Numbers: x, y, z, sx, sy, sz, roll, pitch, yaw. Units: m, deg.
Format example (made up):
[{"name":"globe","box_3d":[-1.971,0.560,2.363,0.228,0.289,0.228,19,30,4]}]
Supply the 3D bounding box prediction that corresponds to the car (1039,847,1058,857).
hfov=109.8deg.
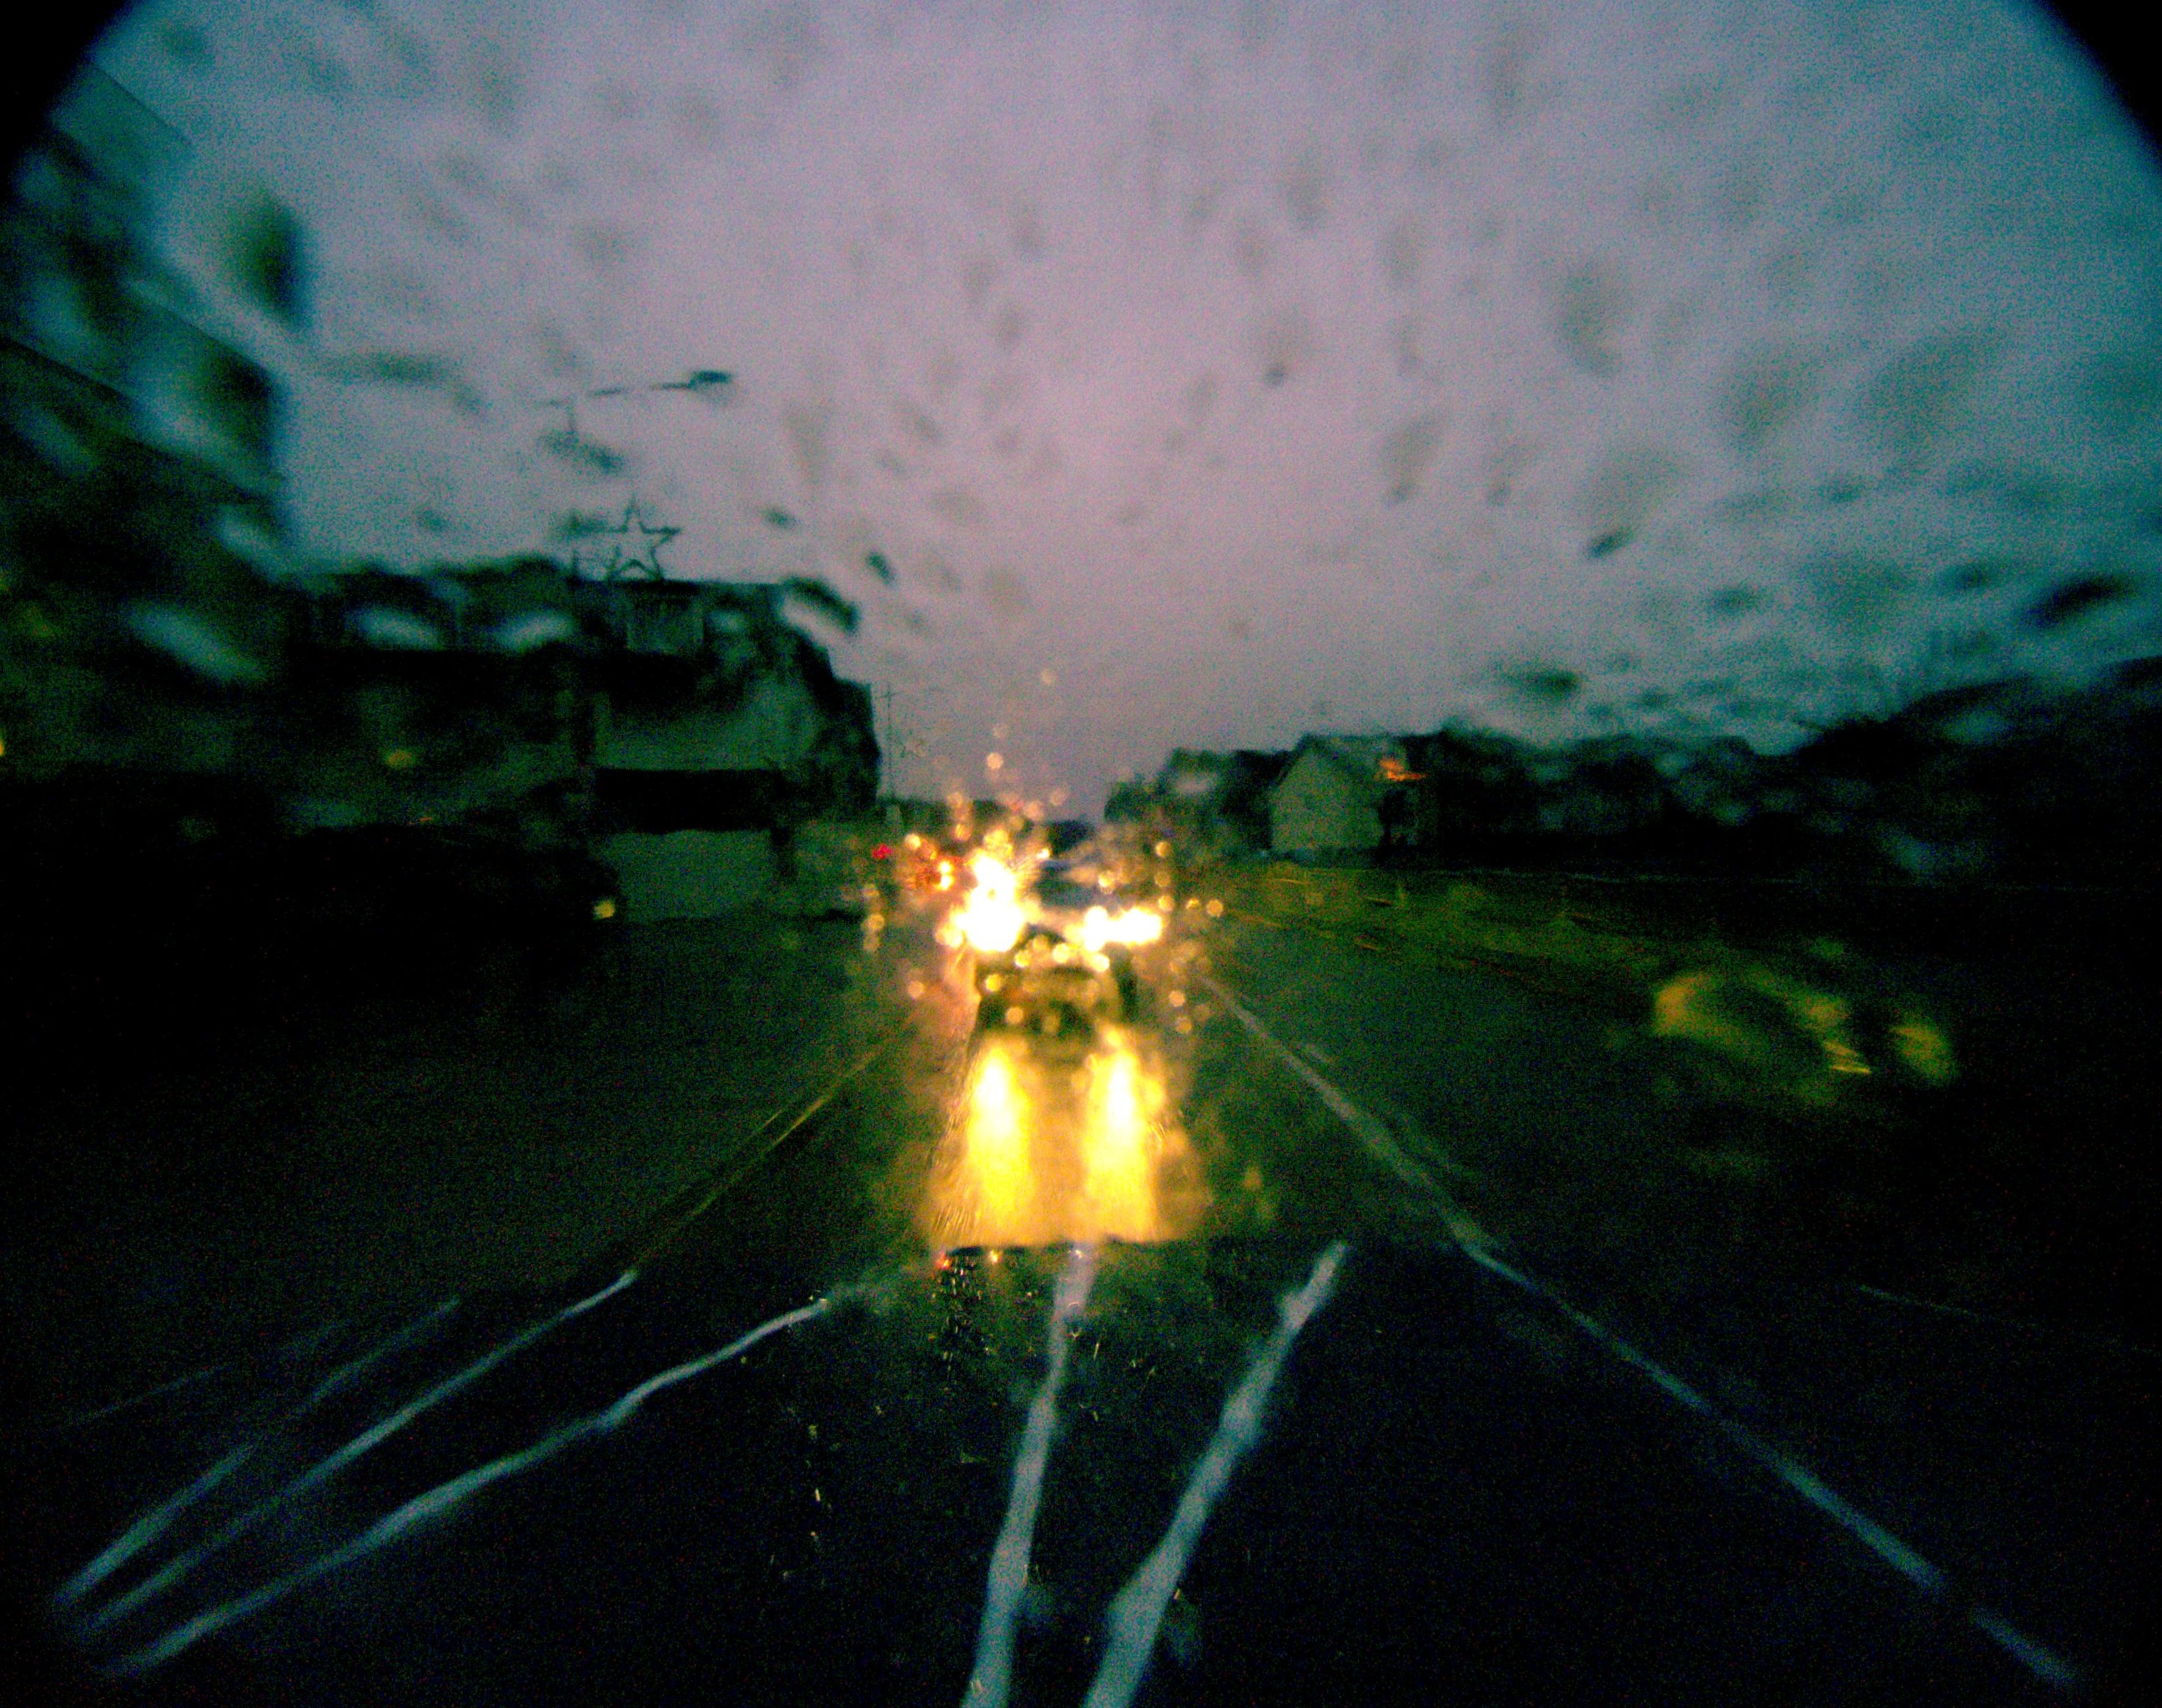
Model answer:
[{"name":"car","box_3d":[-4.873,-0.334,113.504,1.801,1.460,4.250,-1,1,-18]}]

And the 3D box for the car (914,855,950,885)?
[{"name":"car","box_3d":[-8.313,0.860,42.495,1.849,1.577,3.765,-1,0,-11]}]

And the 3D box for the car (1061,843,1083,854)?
[{"name":"car","box_3d":[-1.215,-0.724,103.154,1.801,1.460,4.251,-1,1,-17]}]

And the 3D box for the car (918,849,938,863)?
[{"name":"car","box_3d":[-17.545,0.255,87.053,1.673,1.513,3.994,0,-1,-20]}]

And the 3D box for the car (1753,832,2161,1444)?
[{"name":"car","box_3d":[3.813,0.731,1.202,1.783,1.612,3.955,-2,0,-5]}]

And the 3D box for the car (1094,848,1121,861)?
[{"name":"car","box_3d":[3.082,0.071,88.646,1.801,1.460,4.251,-1,1,-17]}]

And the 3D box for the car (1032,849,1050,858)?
[{"name":"car","box_3d":[-6.293,-0.077,118.466,1.801,1.460,4.251,-1,1,-17]}]

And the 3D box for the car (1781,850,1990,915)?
[{"name":"car","box_3d":[20.712,0.664,19.777,1.479,1.500,3.500,-1,1,-10]}]

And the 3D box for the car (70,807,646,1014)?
[{"name":"car","box_3d":[-7.422,0.603,8.294,4.153,1.625,1.753,6,-1,-10]}]

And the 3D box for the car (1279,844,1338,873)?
[{"name":"car","box_3d":[14.891,0.281,49.908,1.801,1.816,4.252,-1,1,-13]}]

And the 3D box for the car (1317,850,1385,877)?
[{"name":"car","box_3d":[15.986,0.524,45.190,1.801,1.460,4.252,-1,0,-13]}]

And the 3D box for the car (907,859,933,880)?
[{"name":"car","box_3d":[-10.321,0.990,48.839,1.498,1.283,3.288,-1,0,-11]}]

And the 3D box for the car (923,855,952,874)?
[{"name":"car","box_3d":[-11.639,0.840,61.541,1.743,1.434,3.994,-3,0,-18]}]

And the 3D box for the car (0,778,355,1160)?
[{"name":"car","box_3d":[-7.703,0.447,4.563,4.552,1.922,1.974,4,0,-3]}]

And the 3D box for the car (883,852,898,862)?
[{"name":"car","box_3d":[-28.853,0.444,114.974,1.756,1.408,3.747,1,-1,-23]}]

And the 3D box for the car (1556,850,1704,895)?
[{"name":"car","box_3d":[19.739,0.617,27.575,1.801,1.460,4.252,-1,0,-13]}]

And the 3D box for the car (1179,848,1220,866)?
[{"name":"car","box_3d":[10.407,0.251,67.105,1.801,1.460,4.609,-1,0,-17]}]

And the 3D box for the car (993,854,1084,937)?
[{"name":"car","box_3d":[-1.083,0.862,17.332,1.682,1.614,3.997,-2,-1,-9]}]

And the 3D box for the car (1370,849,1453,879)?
[{"name":"car","box_3d":[17.254,0.490,39.880,1.801,1.460,4.252,-1,0,-13]}]

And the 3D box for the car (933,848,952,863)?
[{"name":"car","box_3d":[-19.050,0.178,104.261,2.001,2.002,3.993,-2,1,-18]}]

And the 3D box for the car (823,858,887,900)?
[{"name":"car","box_3d":[-8.487,0.910,28.830,1.778,1.488,3.775,1,-1,-8]}]

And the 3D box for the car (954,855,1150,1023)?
[{"name":"car","box_3d":[-0.335,0.841,9.532,1.888,1.570,3.999,-2,1,-2]}]

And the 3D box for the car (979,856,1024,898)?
[{"name":"car","box_3d":[-3.361,0.904,31.555,1.573,1.460,3.612,-3,2,-10]}]

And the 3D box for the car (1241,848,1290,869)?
[{"name":"car","box_3d":[13.418,0.334,55.519,1.677,1.460,4.011,1,-1,-17]}]

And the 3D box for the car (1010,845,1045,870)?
[{"name":"car","box_3d":[-4.591,0.284,65.173,2.001,2.002,3.993,-2,1,-18]}]
